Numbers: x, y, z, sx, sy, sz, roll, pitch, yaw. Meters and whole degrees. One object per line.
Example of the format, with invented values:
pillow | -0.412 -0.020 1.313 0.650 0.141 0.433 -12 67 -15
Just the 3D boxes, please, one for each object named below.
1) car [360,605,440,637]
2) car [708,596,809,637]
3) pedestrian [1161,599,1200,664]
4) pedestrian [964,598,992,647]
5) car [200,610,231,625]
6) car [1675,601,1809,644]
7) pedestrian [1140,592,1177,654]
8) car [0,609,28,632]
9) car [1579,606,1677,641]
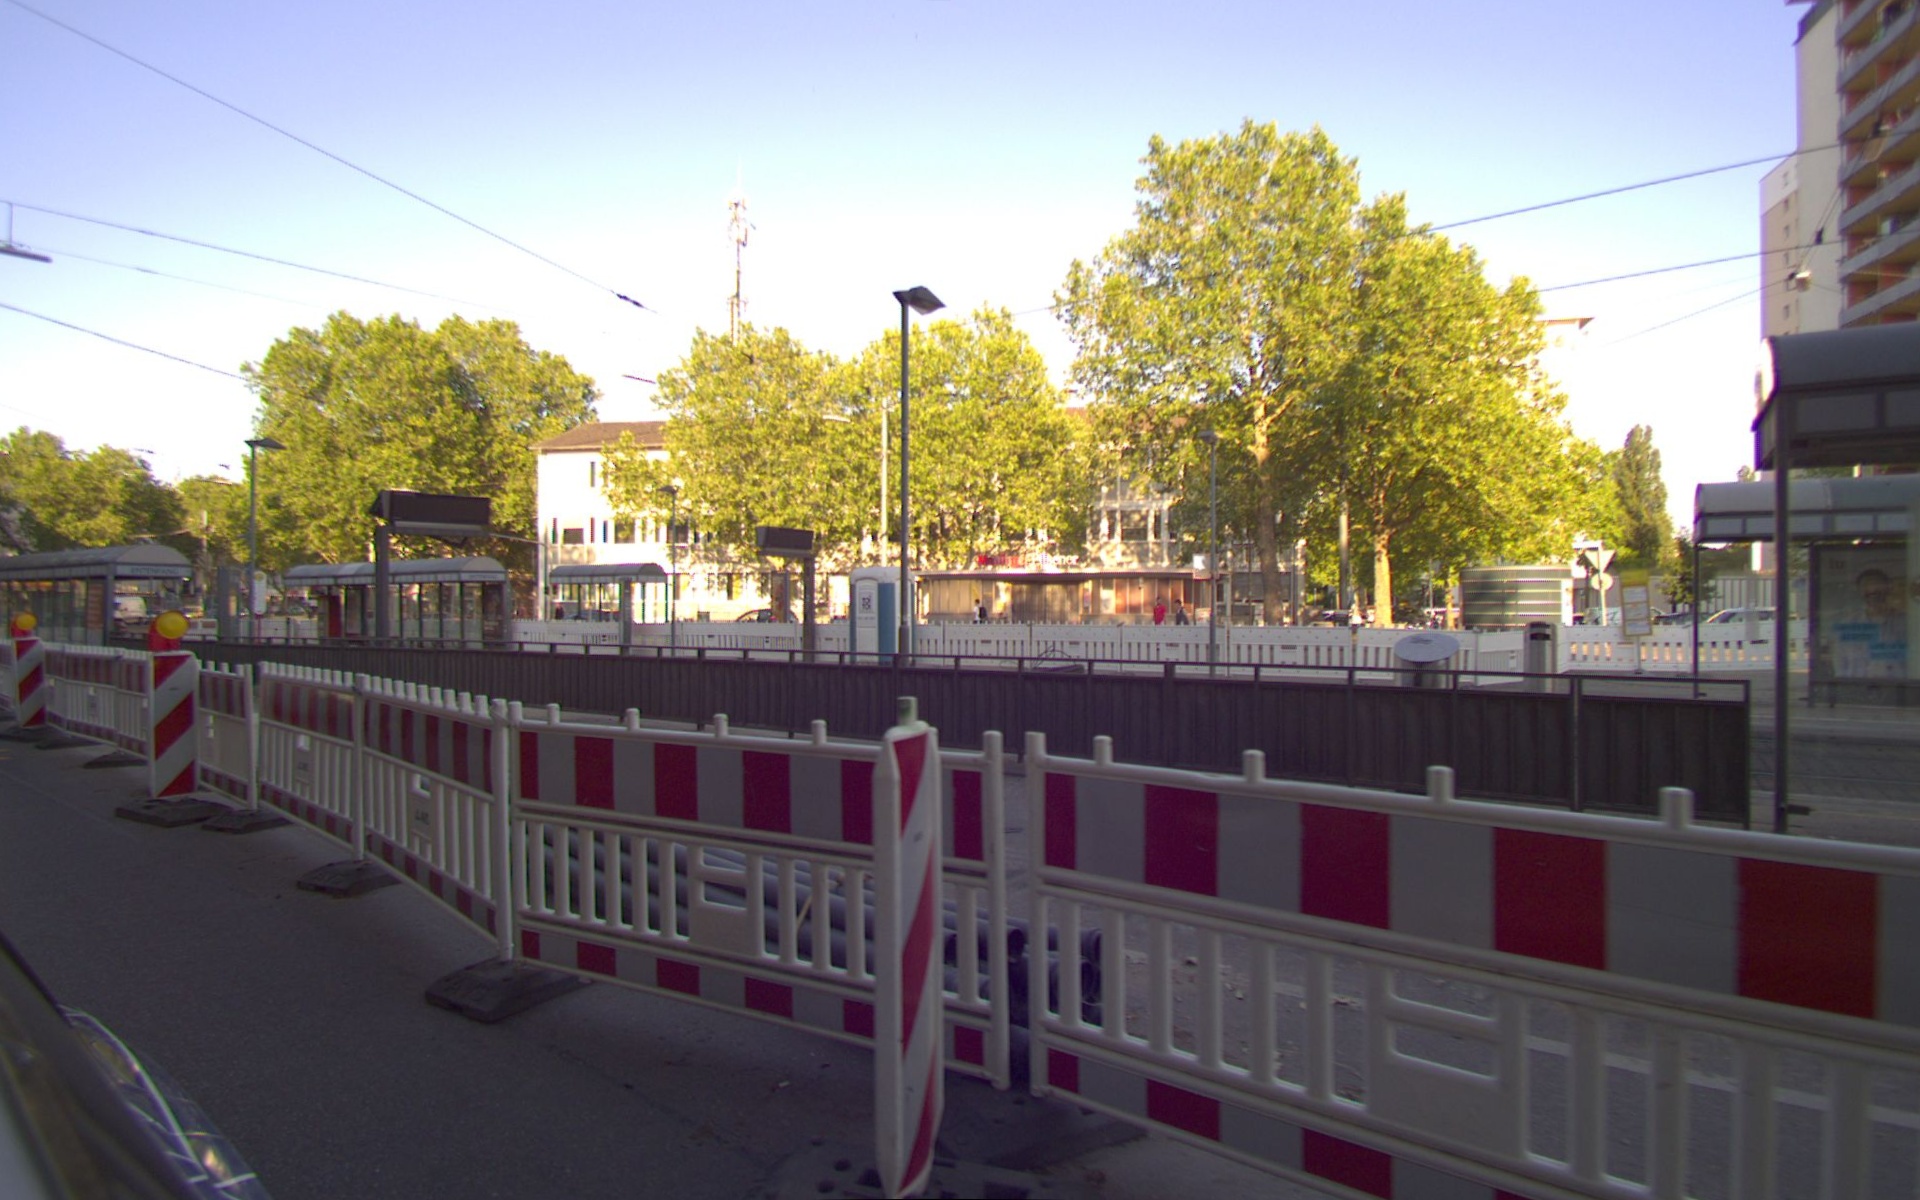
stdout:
car | -28.555 1.071 51.656 3.360 1.586 1.675 -1 0 15
car | -8.152 0.664 40.854 3.962 1.578 1.789 -1 0 36
pedestrian | 6.987 0.980 32.022 0.883 2.029 0.875 -1 -1 41
pedestrian | 0.756 0.927 42.456 0.884 2.029 0.875 -1 -1 30
car | -82.364 1.931 111.939 1.677 1.599 3.718 0 0 -18
car | 38.796 1.113 50.331 4.858 2.029 1.994 -1 -1 9
pedestrian | 6.567 0.760 33.472 0.883 2.029 0.875 -1 -1 41
car | -70.077 1.513 73.263 1.966 1.608 4.575 0 -1 -16
car | 39.935 1.407 60.572 4.394 2.029 1.994 -1 -1 9
